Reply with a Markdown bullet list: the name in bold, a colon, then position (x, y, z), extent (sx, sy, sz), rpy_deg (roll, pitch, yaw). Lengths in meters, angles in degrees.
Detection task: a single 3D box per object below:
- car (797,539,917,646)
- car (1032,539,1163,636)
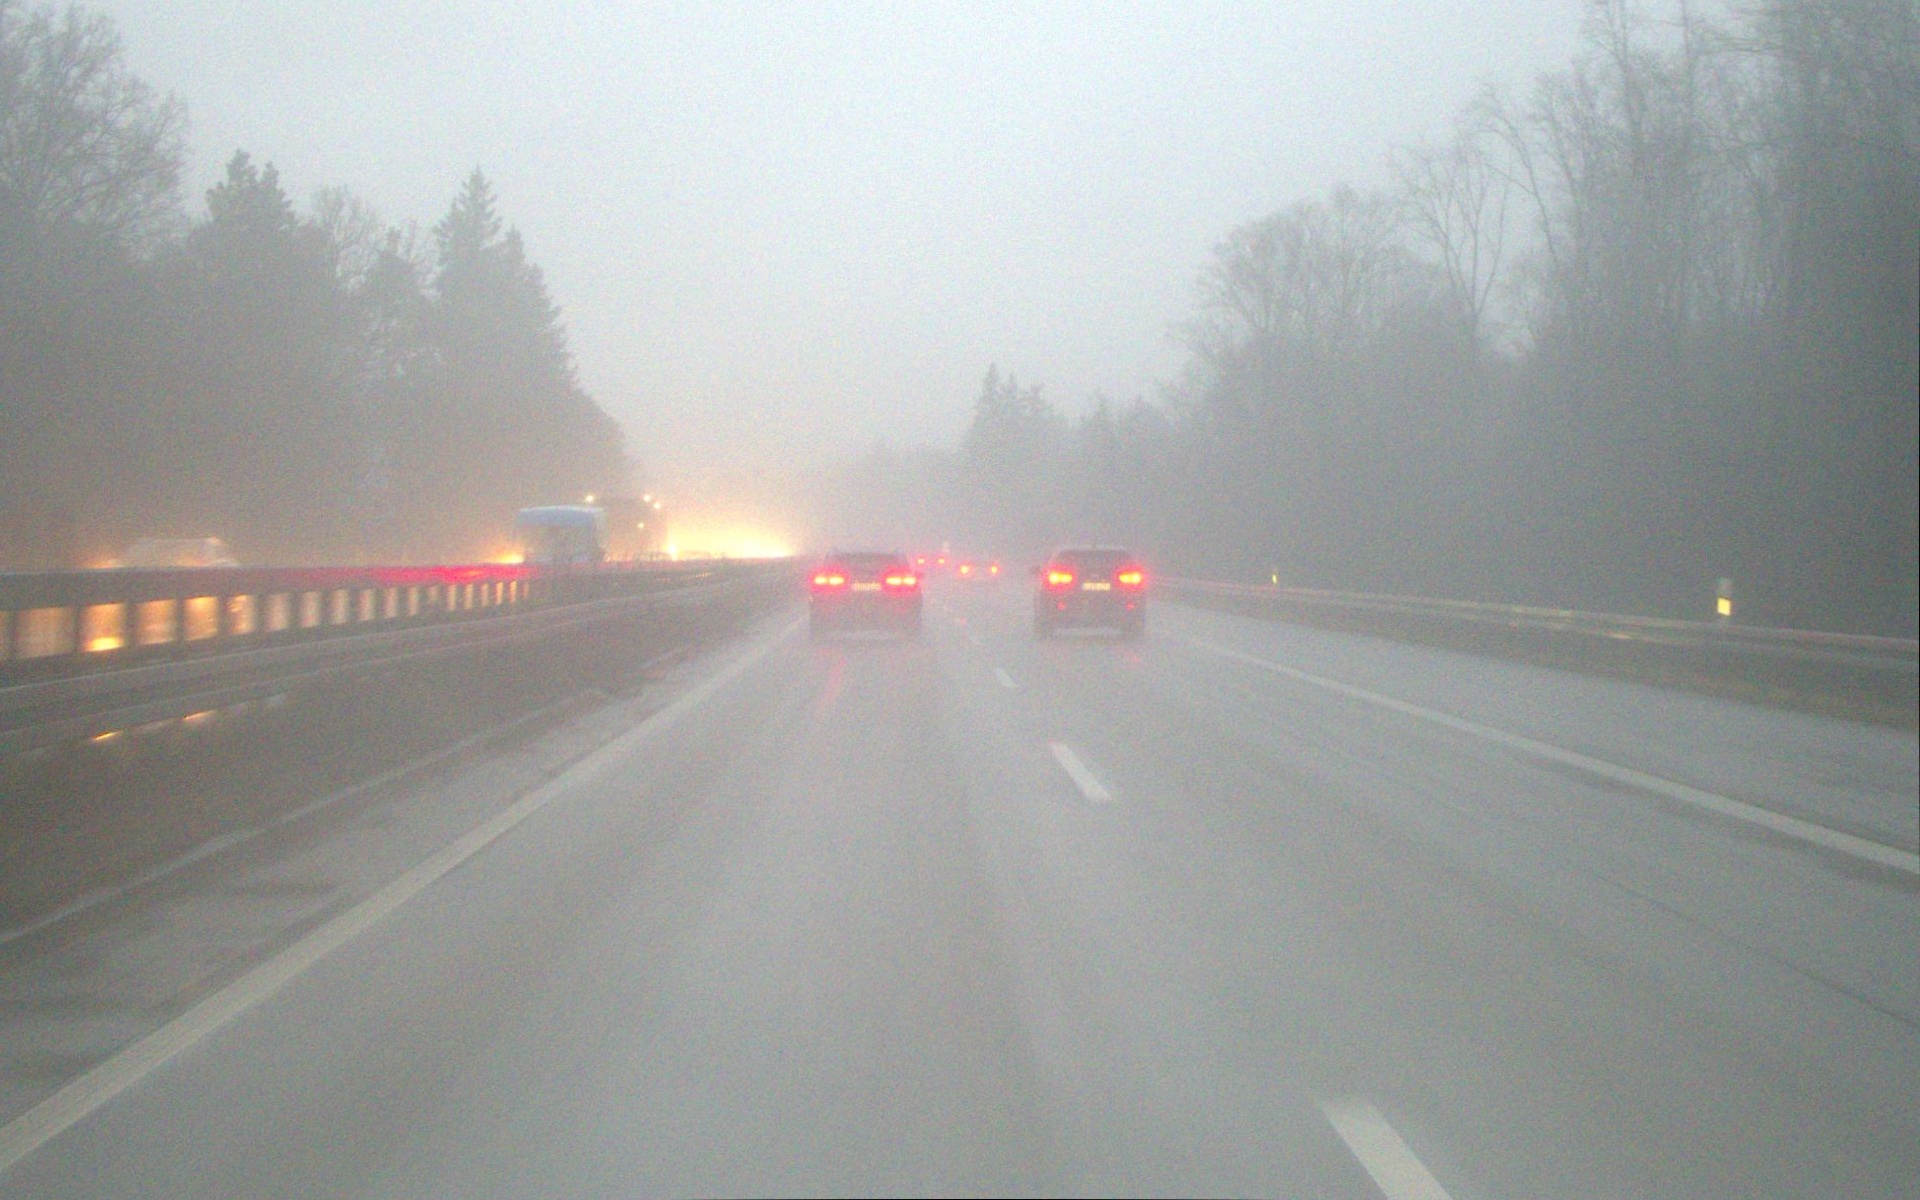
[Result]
- **car**: position (-1.783, -0.147, 58.841), extent (1.986, 1.761, 4.174), rpy_deg (0, 1, -2)
- **car**: position (2.473, -0.243, 62.816), extent (2.070, 1.692, 4.461), rpy_deg (1, 1, -2)
